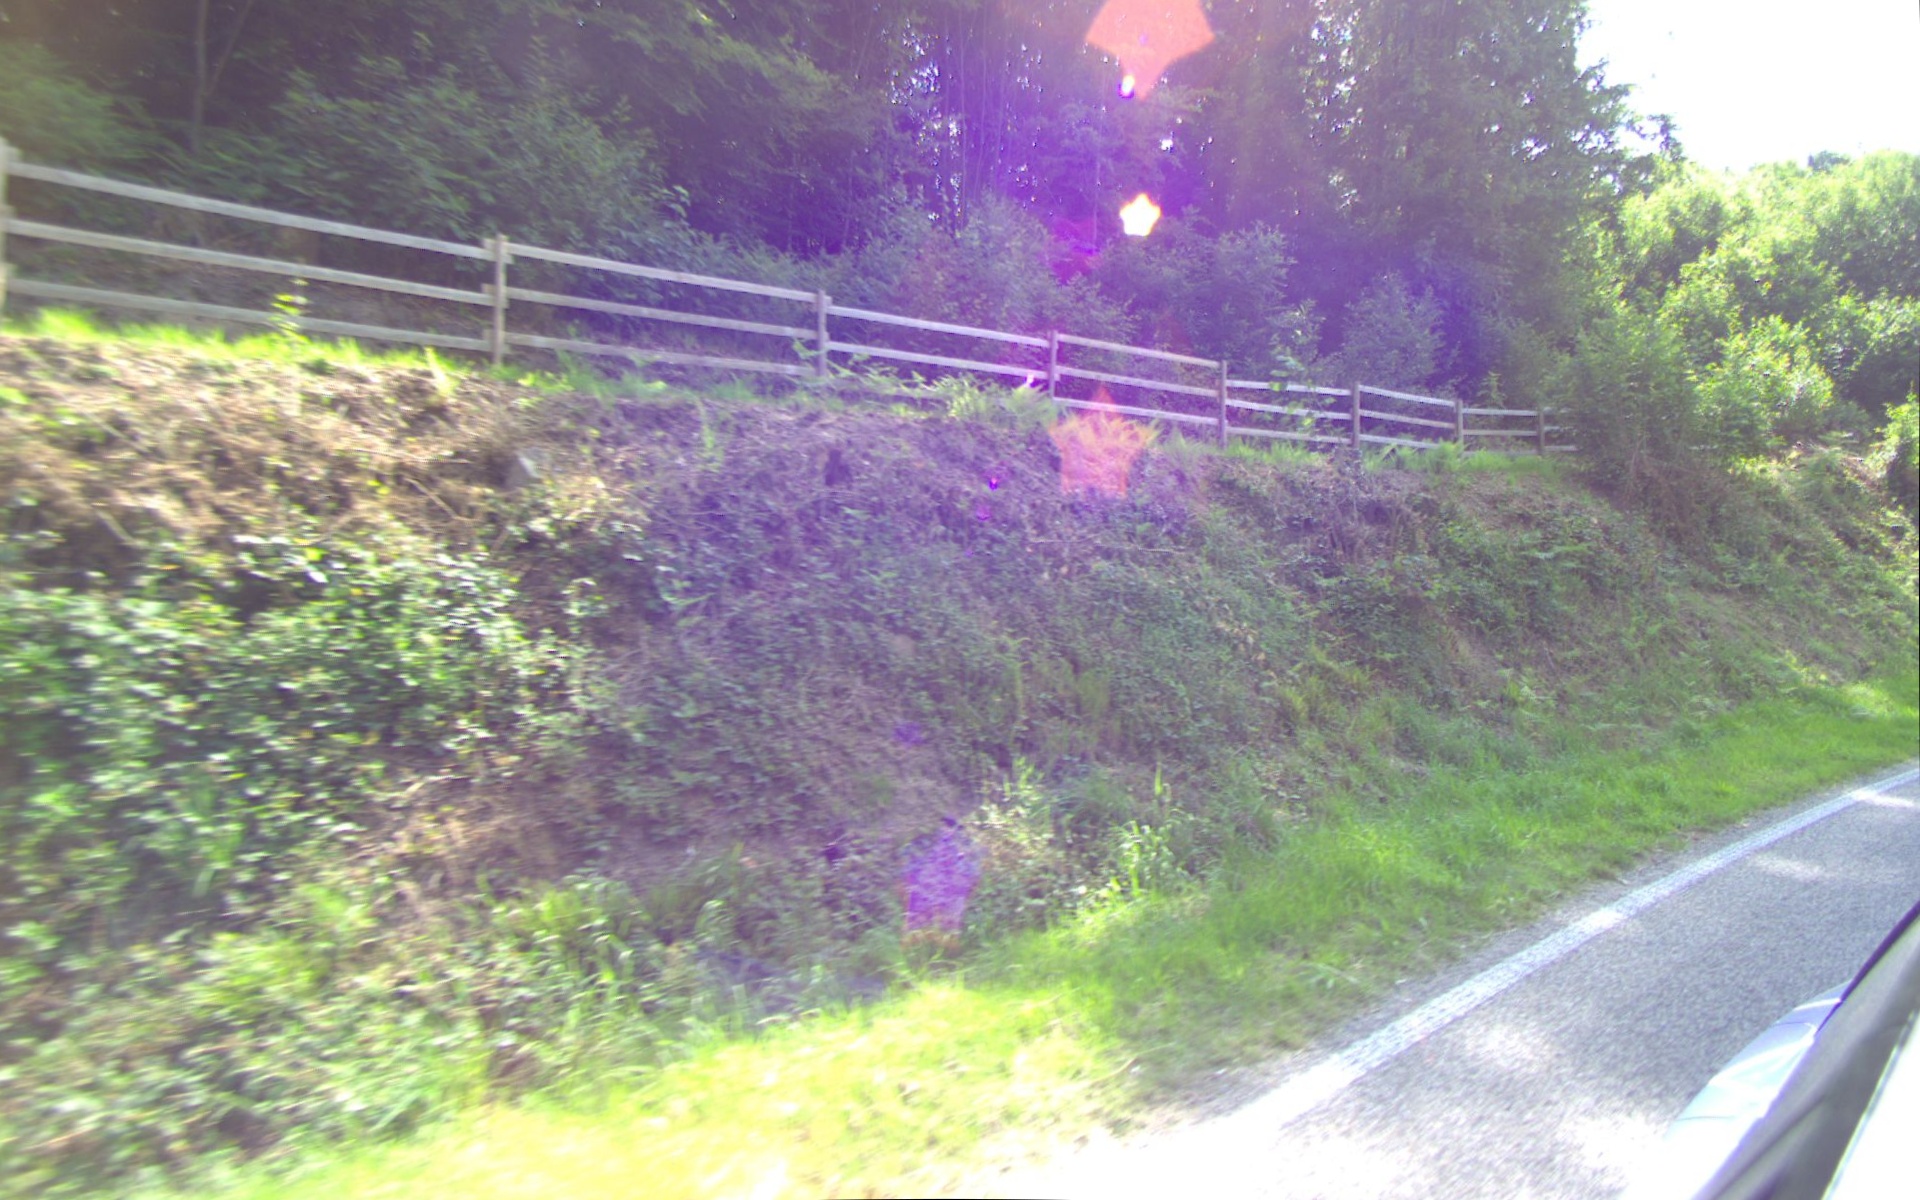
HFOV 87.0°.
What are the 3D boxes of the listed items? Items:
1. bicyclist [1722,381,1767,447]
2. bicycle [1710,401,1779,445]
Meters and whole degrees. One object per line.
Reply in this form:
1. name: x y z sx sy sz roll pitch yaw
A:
1. bicyclist: 20.434 -4.835 26.367 0.600 1.544 0.626 0 -3 -19
2. bicycle: 20.414 -4.604 26.341 1.563 0.927 0.626 0 -3 -19
